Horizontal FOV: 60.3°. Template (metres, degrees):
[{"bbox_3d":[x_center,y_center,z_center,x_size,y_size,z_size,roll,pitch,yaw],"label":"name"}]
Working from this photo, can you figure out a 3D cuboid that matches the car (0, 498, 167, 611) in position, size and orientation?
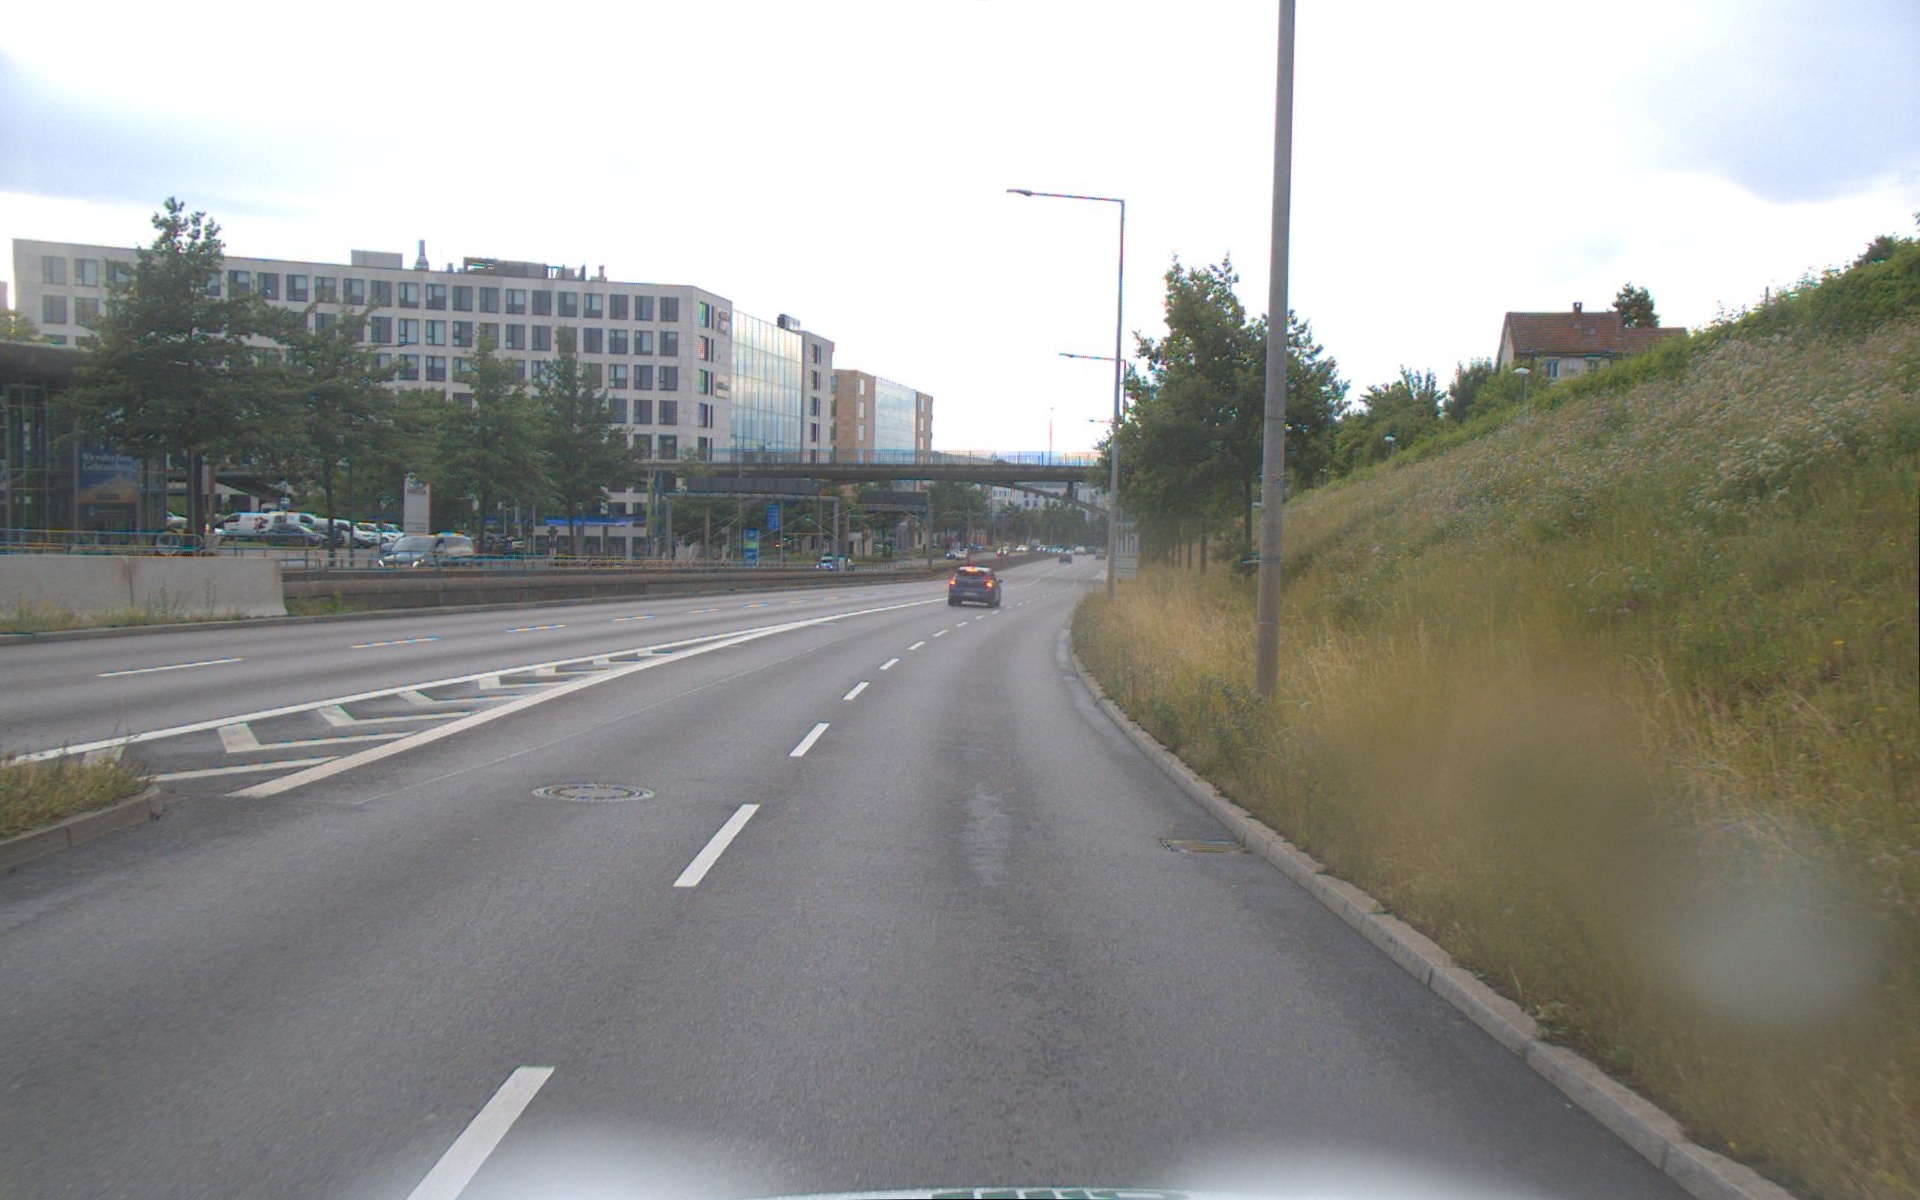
[{"bbox_3d":[-15.013,-0.819,27.579,1.652,1.617,3.552,4,4,4],"label":"car"}]

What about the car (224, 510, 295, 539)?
[{"bbox_3d":[-47.771,-5.191,112.872,3.904,1.678,2.002,4,4,4],"label":"car"}]

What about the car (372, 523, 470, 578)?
[{"bbox_3d":[-19.826,-1.870,60.970,1.952,1.779,4.004,4,4,5],"label":"car"}]

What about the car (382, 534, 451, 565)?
[{"bbox_3d":[-34.496,-3.203,104.927,3.934,1.679,1.986,3,2,-24],"label":"car"}]

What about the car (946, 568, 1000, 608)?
[{"bbox_3d":[0.519,-0.478,62.503,1.712,1.445,3.481,1,1,6],"label":"car"}]

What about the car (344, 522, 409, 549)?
[{"bbox_3d":[-41.893,-4.644,118.807,3.903,1.678,2.003,4,4,11],"label":"car"}]

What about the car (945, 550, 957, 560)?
[{"bbox_3d":[-1.353,-6.719,248.333,1.485,1.444,3.481,2,2,6],"label":"car"}]

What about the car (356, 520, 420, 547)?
[{"bbox_3d":[-41.988,-4.893,121.376,3.903,1.678,2.003,4,4,11],"label":"car"}]

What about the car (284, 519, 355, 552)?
[{"bbox_3d":[-43.002,-4.341,111.111,3.902,2.048,2.002,3,1,11],"label":"car"}]

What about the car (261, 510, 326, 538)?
[{"bbox_3d":[-47.983,-5.481,119.087,3.904,1.678,1.823,4,4,2],"label":"car"}]

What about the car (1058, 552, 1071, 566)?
[{"bbox_3d":[15.544,-6.040,245.665,1.824,1.779,4.004,4,4,2],"label":"car"}]

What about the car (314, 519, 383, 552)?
[{"bbox_3d":[-41.893,-4.442,113.390,3.903,1.907,2.003,4,4,11],"label":"car"}]

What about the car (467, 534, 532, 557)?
[{"bbox_3d":[-32.659,-3.874,117.356,3.903,1.377,1.851,4,2,8],"label":"car"}]

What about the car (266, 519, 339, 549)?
[{"bbox_3d":[-43.106,-4.343,108.423,3.904,1.678,2.002,4,4,4],"label":"car"}]

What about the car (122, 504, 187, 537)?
[{"bbox_3d":[-57.028,-5.656,117.085,3.948,2.083,1.980,1,5,-32],"label":"car"}]

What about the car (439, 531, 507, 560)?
[{"bbox_3d":[-33.117,-3.689,112.542,3.903,1.679,2.002,4,2,8],"label":"car"}]

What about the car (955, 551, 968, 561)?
[{"bbox_3d":[0.166,-6.271,235.787,1.485,1.444,3.481,2,2,6],"label":"car"}]

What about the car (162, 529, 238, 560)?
[{"bbox_3d":[-48.132,-3.525,104.785,3.903,1.678,2.003,4,4,11],"label":"car"}]
